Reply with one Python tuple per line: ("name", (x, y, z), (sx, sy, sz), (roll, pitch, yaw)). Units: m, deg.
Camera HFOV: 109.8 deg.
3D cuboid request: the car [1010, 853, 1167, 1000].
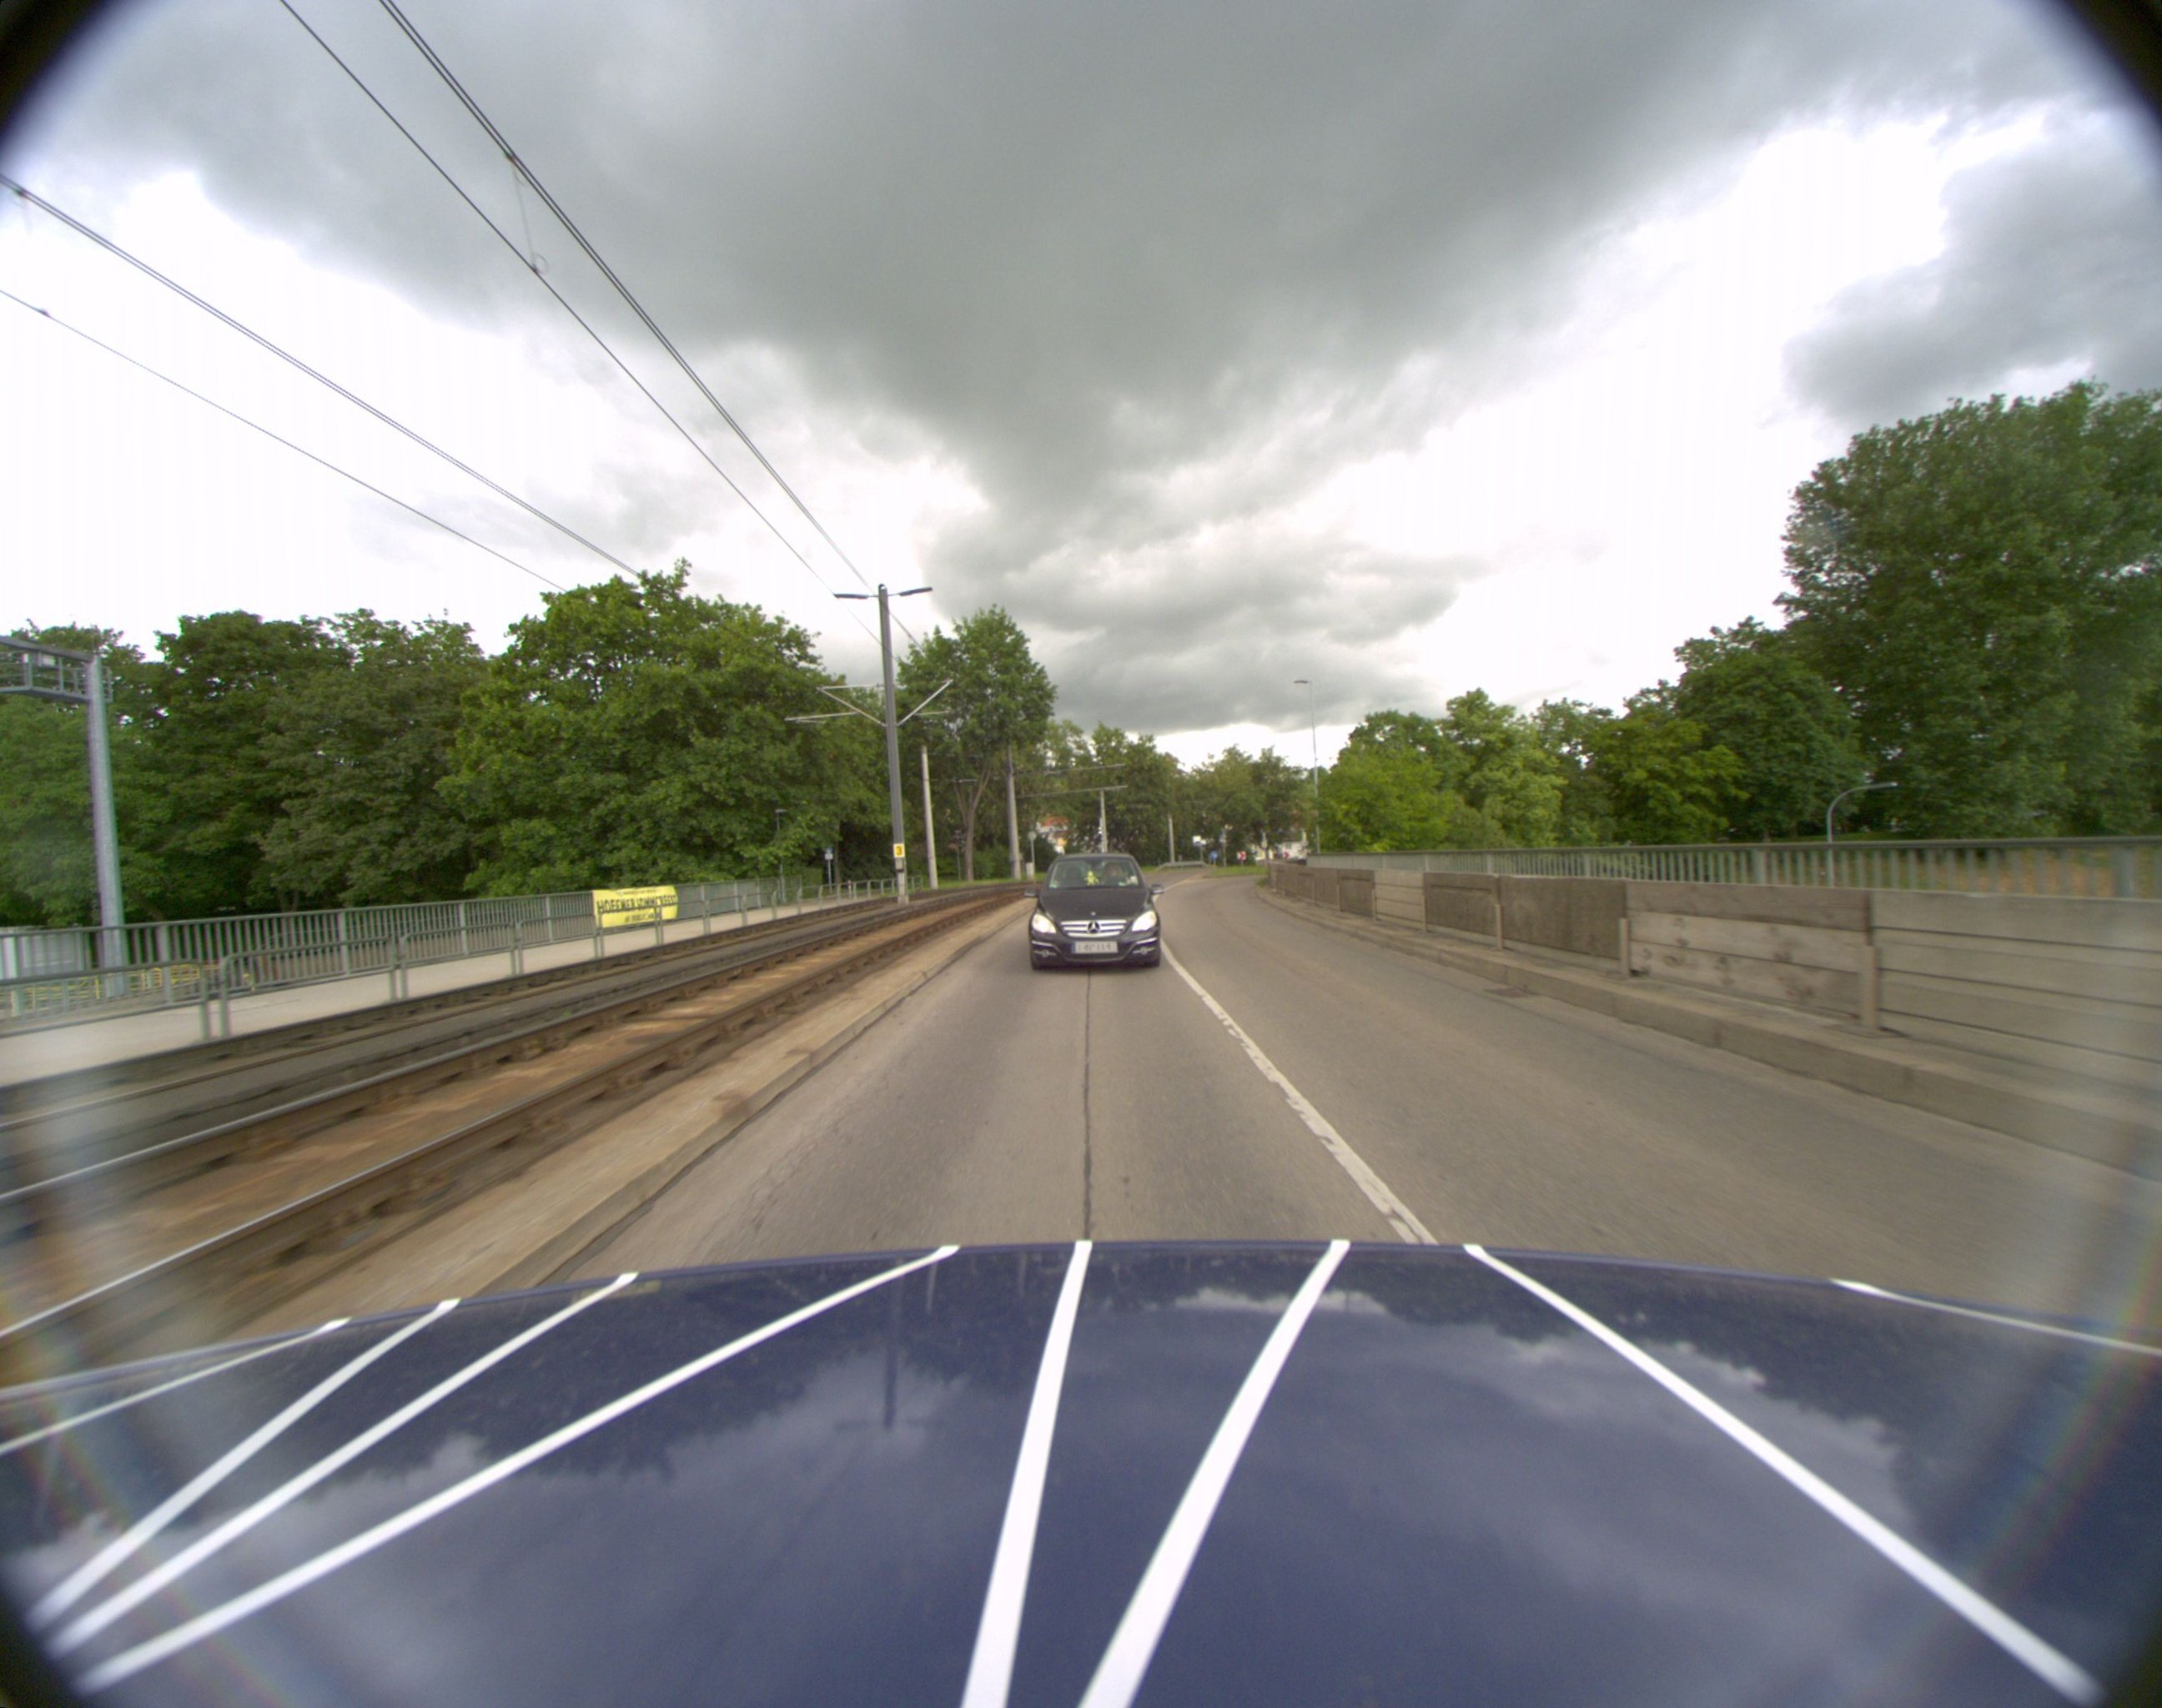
("car", (0.205, 0.809, 10.690), (1.711, 1.573, 4.443), (-2, 0, 3))
